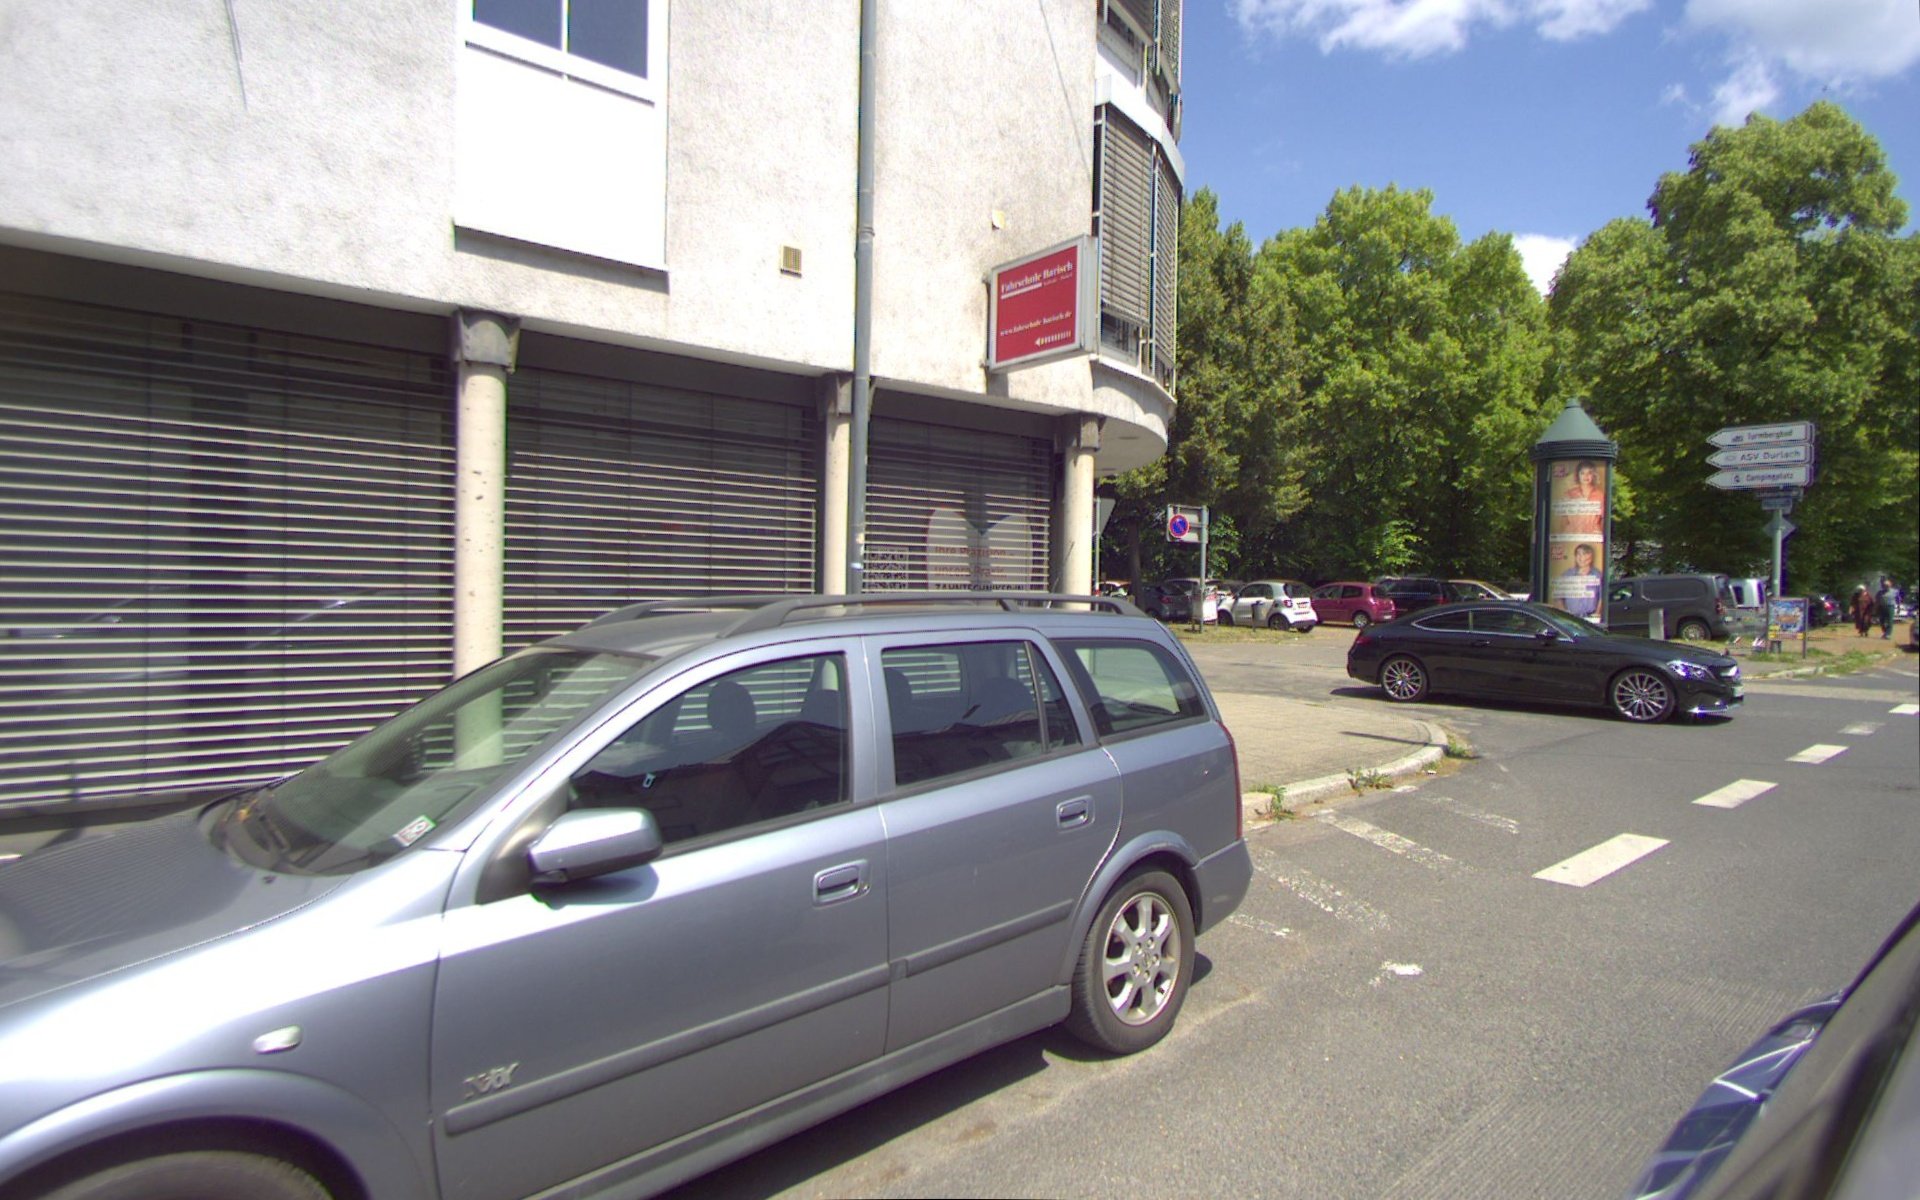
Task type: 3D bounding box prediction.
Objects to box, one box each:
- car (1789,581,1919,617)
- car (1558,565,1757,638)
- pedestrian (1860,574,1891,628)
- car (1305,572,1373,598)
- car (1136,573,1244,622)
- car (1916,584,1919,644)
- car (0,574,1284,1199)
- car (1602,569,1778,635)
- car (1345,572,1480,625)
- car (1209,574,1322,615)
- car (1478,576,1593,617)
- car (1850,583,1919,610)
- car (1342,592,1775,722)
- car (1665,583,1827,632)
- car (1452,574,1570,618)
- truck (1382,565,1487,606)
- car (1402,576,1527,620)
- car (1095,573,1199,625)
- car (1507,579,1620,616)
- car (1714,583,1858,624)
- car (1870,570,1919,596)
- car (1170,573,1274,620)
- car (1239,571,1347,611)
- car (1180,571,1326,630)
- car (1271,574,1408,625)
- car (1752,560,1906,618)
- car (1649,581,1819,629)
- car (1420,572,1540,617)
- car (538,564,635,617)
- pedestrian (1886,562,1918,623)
[{"bbox_3d":[39.475,-0.032,44.572,1.777,1.513,4.331,0,0,-41],"label":"car"},{"bbox_3d":[18.416,-0.002,26.842,1.981,1.772,3.994,-1,1,-40],"label":"car"},{"bbox_3d":[27.962,0.022,30.915,0.724,1.613,0.618,-1,1,-41],"label":"pedestrian"},{"bbox_3d":[24.286,-0.974,64.916,1.705,1.586,3.810,0,2,-36],"label":"car"},{"bbox_3d":[7.992,-0.131,35.318,1.564,1.573,3.386,-1,3,-42],"label":"car"},{"bbox_3d":[26.018,0.340,25.986,3.823,1.504,1.770,-1,1,-41],"label":"car"},{"bbox_3d":[-0.874,0.691,3.012,4.072,1.473,1.680,-1,0,-42],"label":"car"},{"bbox_3d":[20.364,-0.001,28.330,1.636,1.688,3.766,0,2,-44],"label":"car"},{"bbox_3d":[15.901,-0.100,35.694,1.673,1.699,3.992,-1,3,-43],"label":"car"},{"bbox_3d":[11.575,-0.189,38.570,1.658,1.486,3.913,0,0,-36],"label":"car"},{"bbox_3d":[25.234,-0.196,44.459,1.772,1.606,3.998,-1,3,-38],"label":"car"},{"bbox_3d":[49.608,-0.190,53.507,3.834,1.375,1.605,1,1,42],"label":"car"},{"bbox_3d":[7.720,0.600,13.435,1.966,1.382,4.588,0,1,-41],"label":"car"},{"bbox_3d":[26.124,0.203,33.739,1.639,1.446,3.997,0,2,-39],"label":"car"},{"bbox_3d":[23.188,-0.219,42.687,1.772,1.682,3.998,-1,3,-38],"label":"car"},{"bbox_3d":[22.486,-0.729,48.059,1.844,1.837,4.133,0,2,-37],"label":"truck"},{"bbox_3d":[19.470,-0.123,39.155,1.652,1.501,3.994,-1,3,-42],"label":"car"},{"bbox_3d":[6.158,-0.086,33.438,1.564,1.573,3.068,-1,3,-42],"label":"car"},{"bbox_3d":[27.170,-0.157,45.686,1.772,1.491,3.998,-1,3,-38],"label":"car"},{"bbox_3d":[31.550,0.135,38.760,1.686,1.492,3.996,-1,0,-38],"label":"car"},{"bbox_3d":[58.144,-1.005,61.709,1.823,1.546,3.756,0,2,-43],"label":"car"},{"bbox_3d":[9.557,-0.166,37.077,1.564,1.573,3.386,-1,3,-42],"label":"car"},{"bbox_3d":[13.364,-0.402,40.734,1.708,1.477,3.805,0,2,-41],"label":"car"},{"bbox_3d":[8.812,-0.040,30.707,1.652,1.573,3.994,-1,3,-42],"label":"car"},{"bbox_3d":[12.657,-0.063,33.953,1.652,1.547,3.994,-1,3,-42],"label":"car"},{"bbox_3d":[36.474,-0.433,42.591,2.068,2.305,4.612,0,0,-39],"label":"car"},{"bbox_3d":[24.242,0.132,31.807,1.777,1.415,3.993,-1,1,-41],"label":"car"},{"bbox_3d":[21.118,-0.259,41.223,1.652,1.661,3.994,-1,3,-42],"label":"car"},{"bbox_3d":[-13.286,-0.349,35.870,1.601,1.757,4.374,-1,1,-44],"label":"car"},{"bbox_3d":[28.336,-0.227,30.435,0.724,1.786,0.618,0,1,-41],"label":"pedestrian"}]
